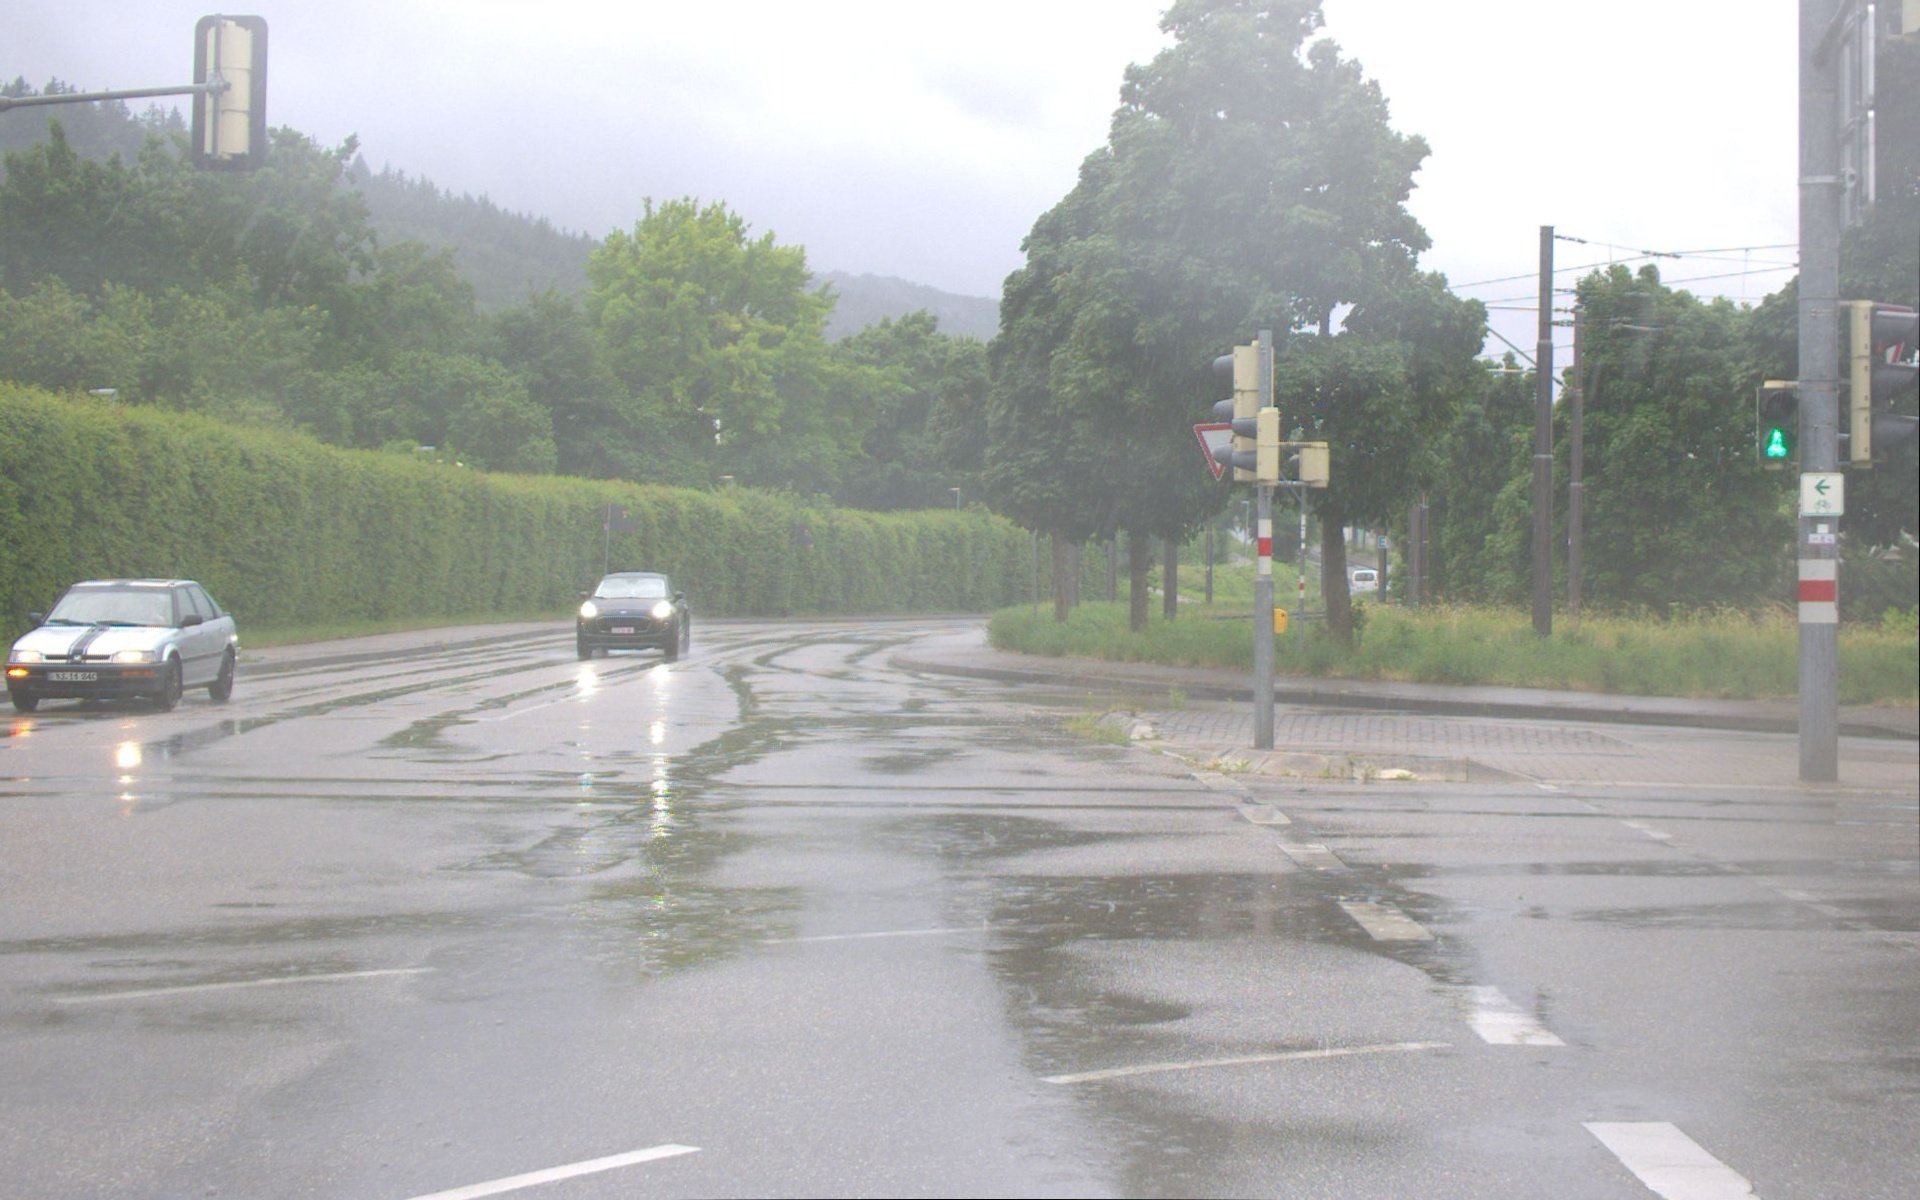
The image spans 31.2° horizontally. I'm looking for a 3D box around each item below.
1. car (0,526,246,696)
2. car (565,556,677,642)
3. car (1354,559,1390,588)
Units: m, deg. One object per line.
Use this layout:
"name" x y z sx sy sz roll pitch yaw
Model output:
"car" -9.169 0.066 37.280 2.036 1.702 4.066 1 1 -1
"car" -6.168 -0.042 62.951 1.784 1.499 4.061 0 1 -2
"car" 27.388 -1.751 228.542 1.954 1.897 4.118 0 1 13
